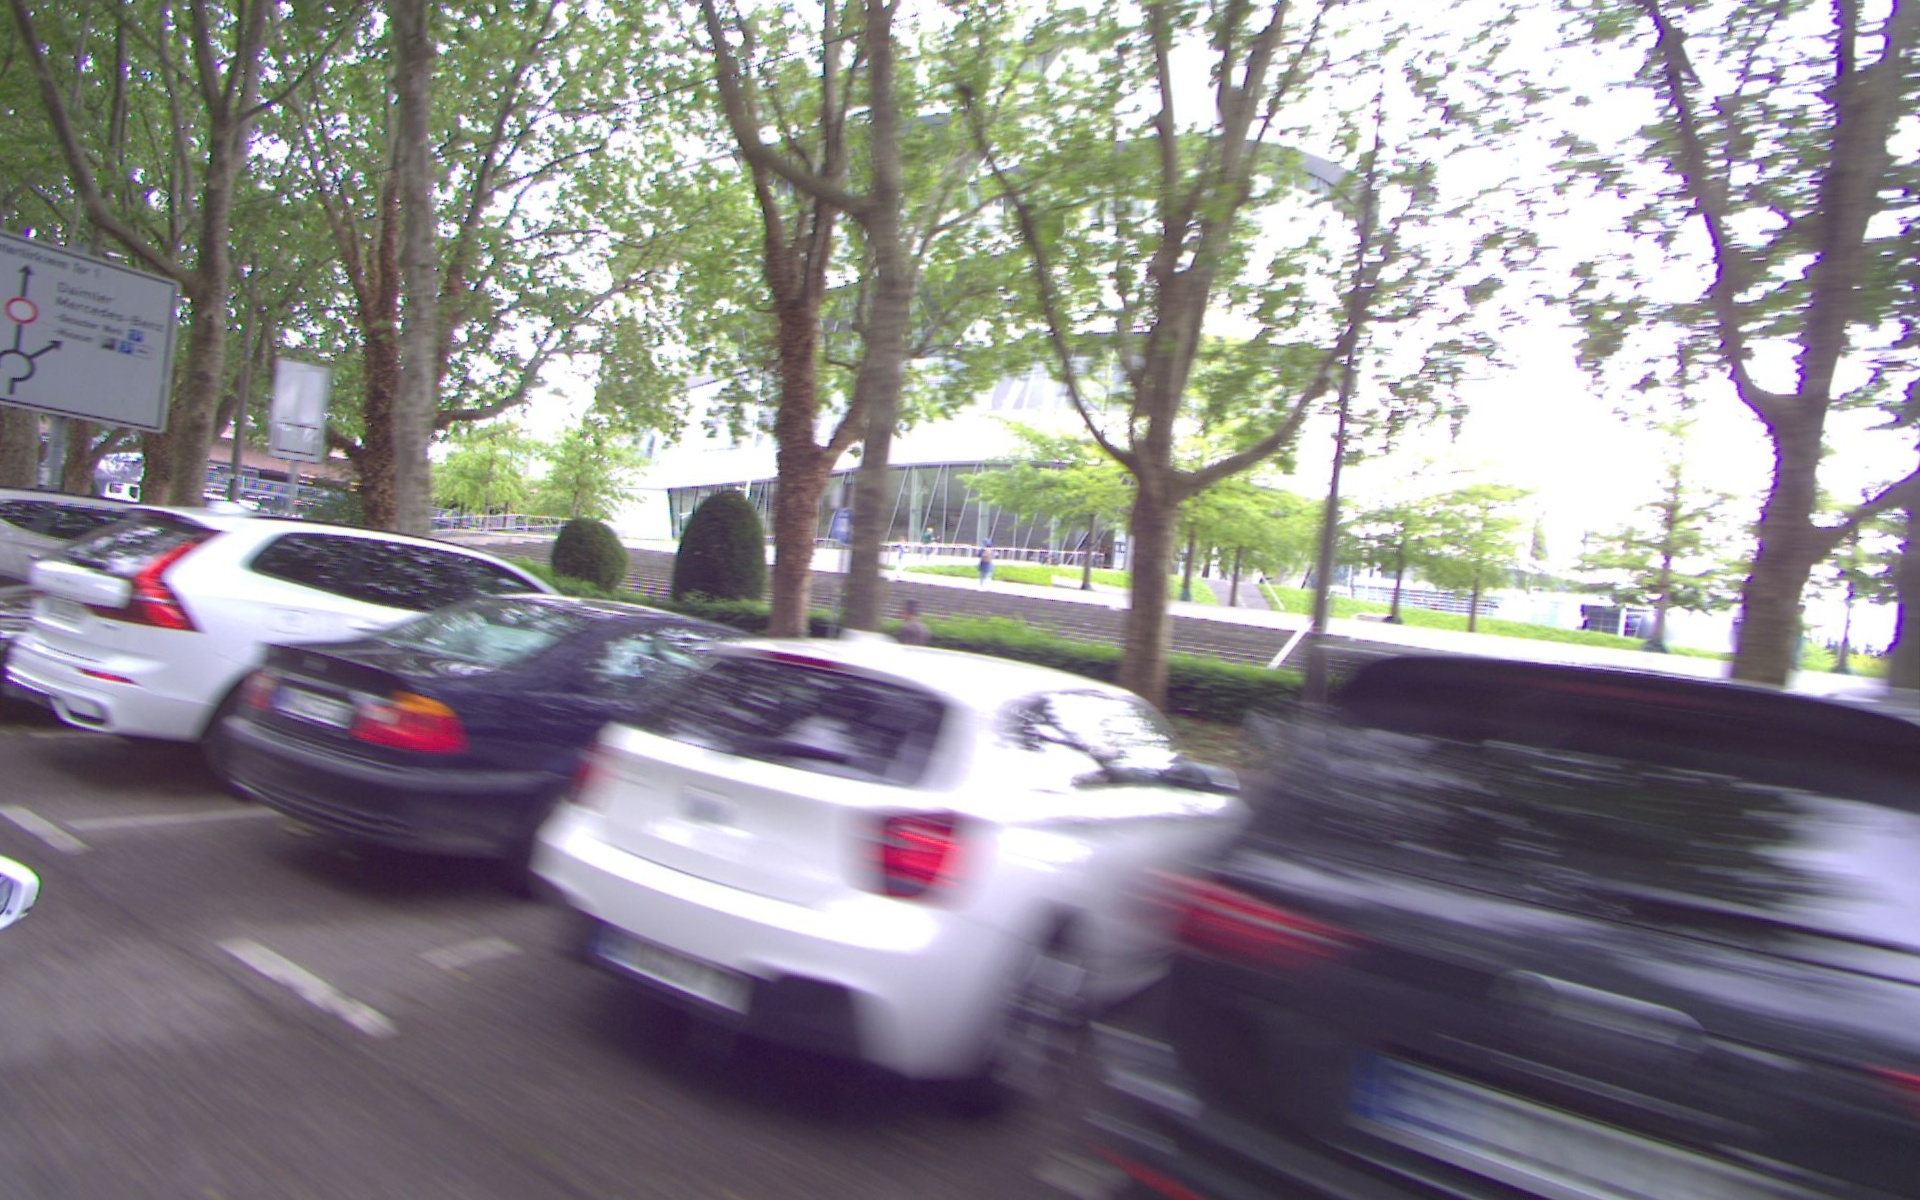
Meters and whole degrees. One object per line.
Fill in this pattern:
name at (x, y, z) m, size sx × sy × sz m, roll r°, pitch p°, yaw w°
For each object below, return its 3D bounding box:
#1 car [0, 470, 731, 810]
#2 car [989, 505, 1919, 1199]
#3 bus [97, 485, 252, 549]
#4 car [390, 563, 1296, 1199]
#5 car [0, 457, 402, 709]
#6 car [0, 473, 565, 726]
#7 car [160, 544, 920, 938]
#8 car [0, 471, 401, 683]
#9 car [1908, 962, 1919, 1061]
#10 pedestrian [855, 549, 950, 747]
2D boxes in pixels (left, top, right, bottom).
car at (-4.026, 0.361, 7.418) m, size 1.893 × 1.652 × 4.355 m, roll 8°, pitch -2°, yaw 32°
car at (1.988, 0.967, 3.336) m, size 1.893 × 1.782 × 4.354 m, roll 7°, pitch -1°, yaw 30°
bus at (-70.754, -7.372, 91.075) m, size 2.706 × 3.980 × 11.093 m, roll 7°, pitch -2°, yaw 18°
car at (0.080, 0.933, 4.764) m, size 1.916 × 1.472 × 4.357 m, roll 8°, pitch -2°, yaw 30°
car at (-8.107, -0.128, 9.841) m, size 1.967 × 2.037 × 3.995 m, roll 8°, pitch -2°, yaw 32°
car at (-5.965, 0.111, 8.680) m, size 1.893 × 1.623 × 4.355 m, roll 8°, pitch -2°, yaw 32°
car at (-2.048, 0.730, 5.970) m, size 1.746 × 1.418 × 3.741 m, roll 7°, pitch -3°, yaw 30°
car at (-8.247, -0.226, 9.848) m, size 1.893 × 1.652 × 4.355 m, roll 8°, pitch -2°, yaw 32°
car at (4.456, 1.377, 2.878) m, size 1.652 × 1.511 × 3.438 m, roll 7°, pitch 0°, yaw 30°
pedestrian at (-0.613, 0.524, 11.034) m, size 0.587 × 2.037 × 0.788 m, roll 7°, pitch -1°, yaw 15°
